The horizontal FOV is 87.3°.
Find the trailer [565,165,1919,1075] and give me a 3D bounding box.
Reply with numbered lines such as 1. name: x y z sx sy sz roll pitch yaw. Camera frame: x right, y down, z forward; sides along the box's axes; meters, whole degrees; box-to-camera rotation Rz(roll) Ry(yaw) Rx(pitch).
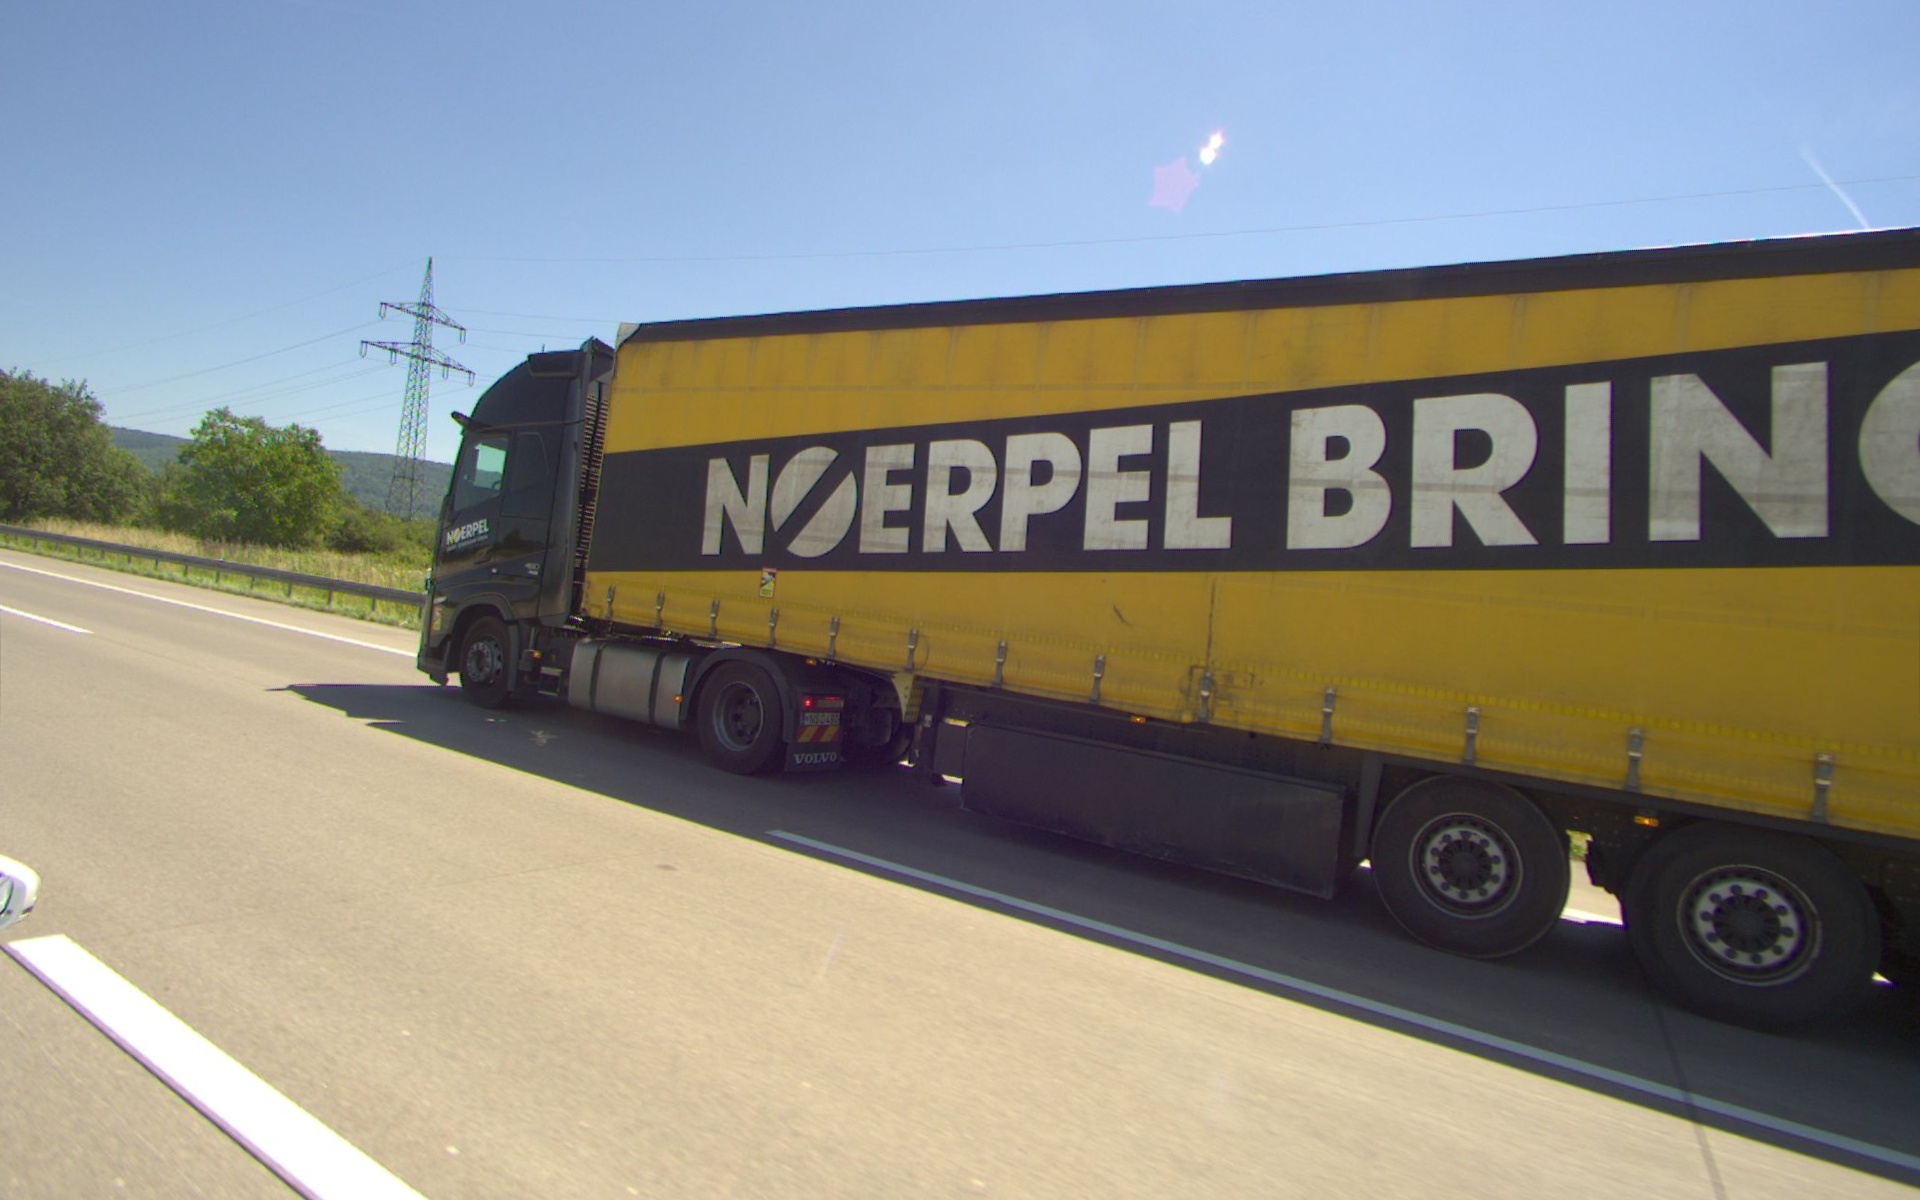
1. trailer: 3.097 -0.062 6.721 14.502 4.241 1.997 6 -1 32

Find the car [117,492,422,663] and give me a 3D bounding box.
1. car: -9.990 -0.343 14.525 3.933 1.868 1.999 6 -4 31

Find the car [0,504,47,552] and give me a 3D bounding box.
1. car: -44.293 -3.459 46.423 3.933 1.868 1.999 6 -4 31

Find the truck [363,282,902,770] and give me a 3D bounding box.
1. truck: -3.734 -0.797 10.988 5.612 4.241 1.997 6 -1 32
